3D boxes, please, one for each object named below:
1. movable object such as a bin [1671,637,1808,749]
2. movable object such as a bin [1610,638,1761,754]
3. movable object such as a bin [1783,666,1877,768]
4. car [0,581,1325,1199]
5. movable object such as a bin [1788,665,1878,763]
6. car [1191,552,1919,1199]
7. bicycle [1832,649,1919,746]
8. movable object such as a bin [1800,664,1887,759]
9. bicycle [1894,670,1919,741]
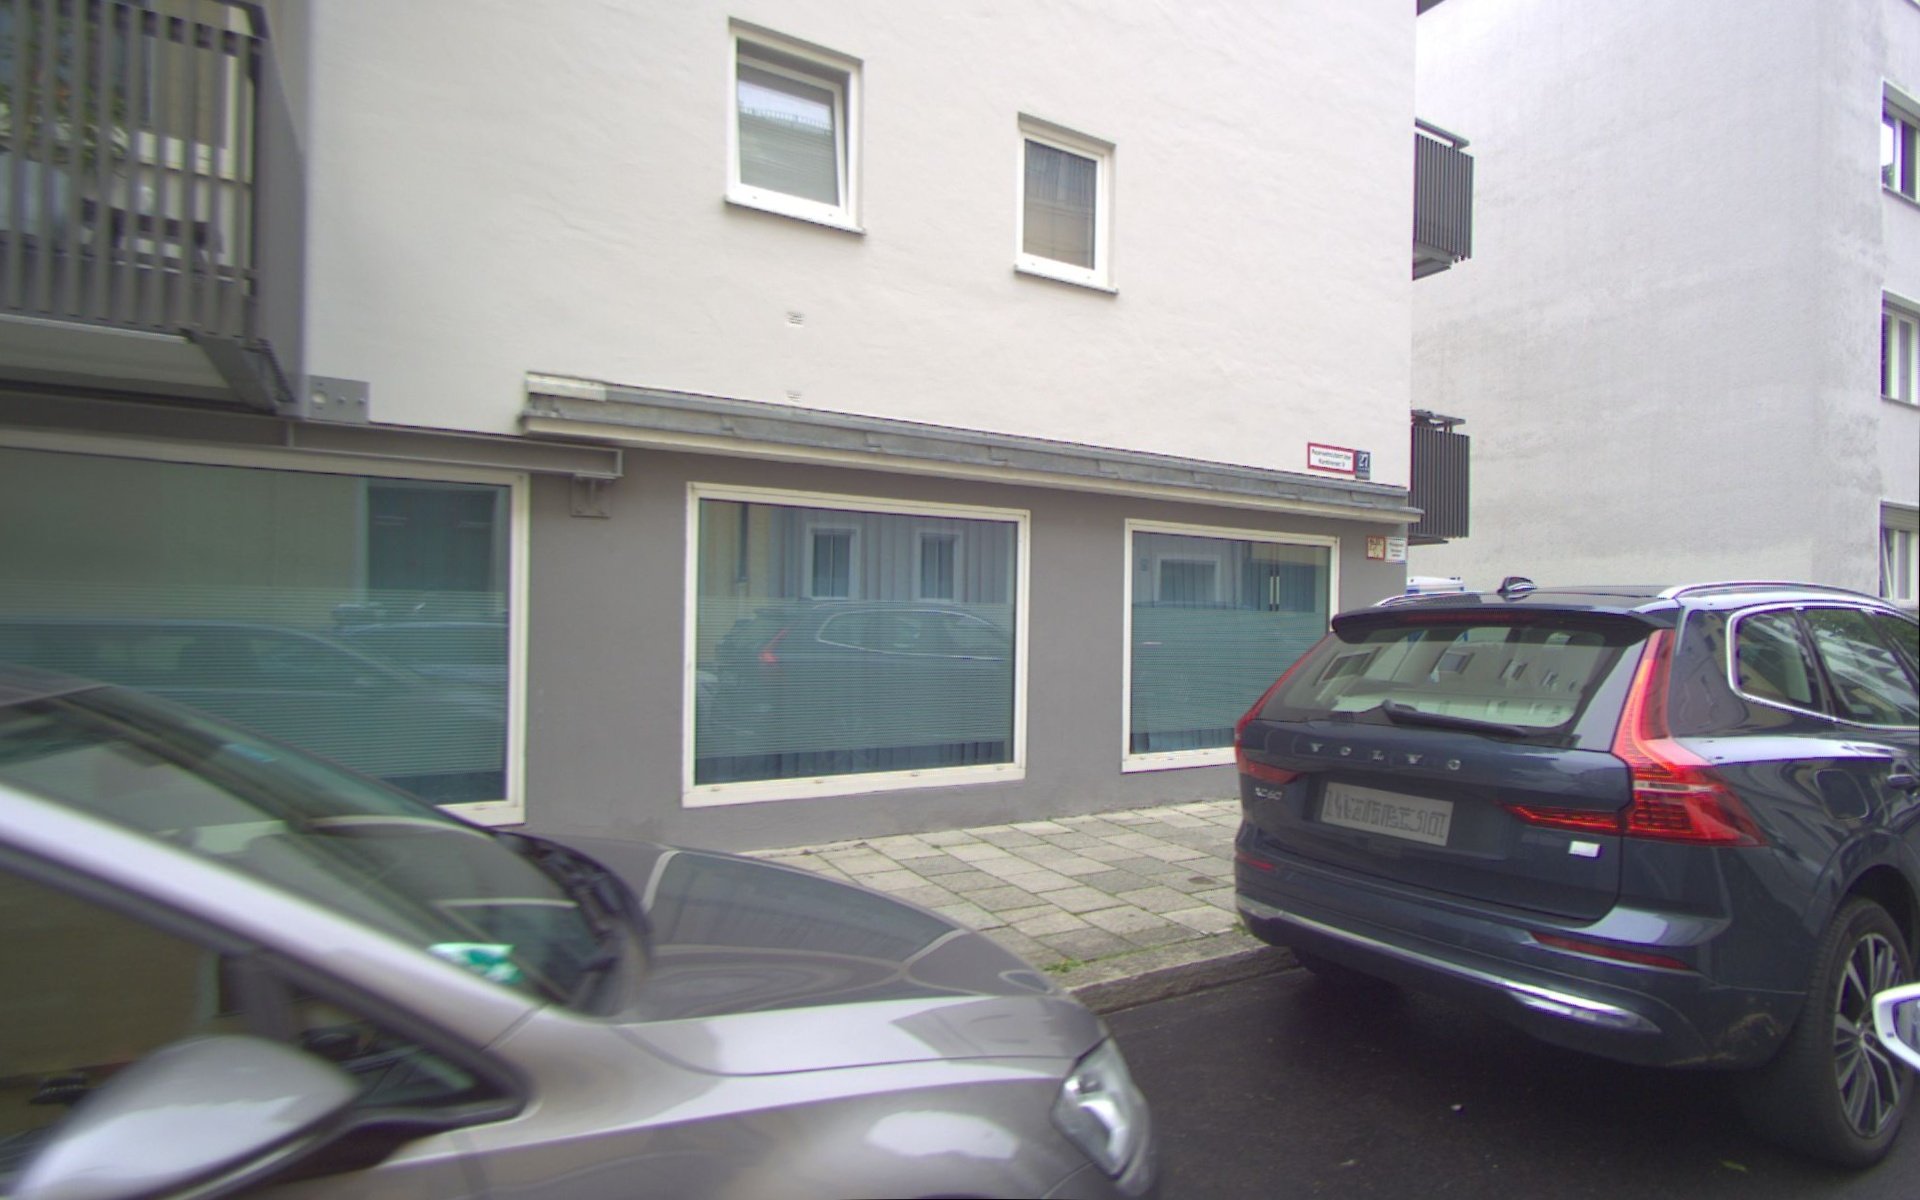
[{"bbox_3d":[10.015,1.170,12.926,0.980,1.354,1.044,1,-3,-27],"label":"movable object such as a bin"},{"bbox_3d":[9.023,1.158,12.522,1.012,1.354,1.162,1,-3,-27],"label":"movable object such as a bin"},{"bbox_3d":[9.655,1.278,11.155,0.579,1.034,0.645,1,1,-36],"label":"movable object such as a bin"},{"bbox_3d":[-1.495,0.730,1.358,3.932,1.461,1.684,1,-2,-32],"label":"car"},{"bbox_3d":[10.085,1.296,11.602,0.579,1.034,0.645,1,1,-36],"label":"movable object such as a bin"},{"bbox_3d":[3.187,0.786,4.148,4.363,1.650,1.768,1,-2,-31],"label":"car"},{"bbox_3d":[12.103,1.241,13.141,2.108,1.082,0.394,-1,2,-31],"label":"bicycle"},{"bbox_3d":[10.561,1.317,12.017,0.579,1.034,0.645,1,1,-36],"label":"movable object such as a bin"},{"bbox_3d":[13.090,1.377,13.349,2.108,0.881,0.394,1,1,-31],"label":"bicycle"}]
